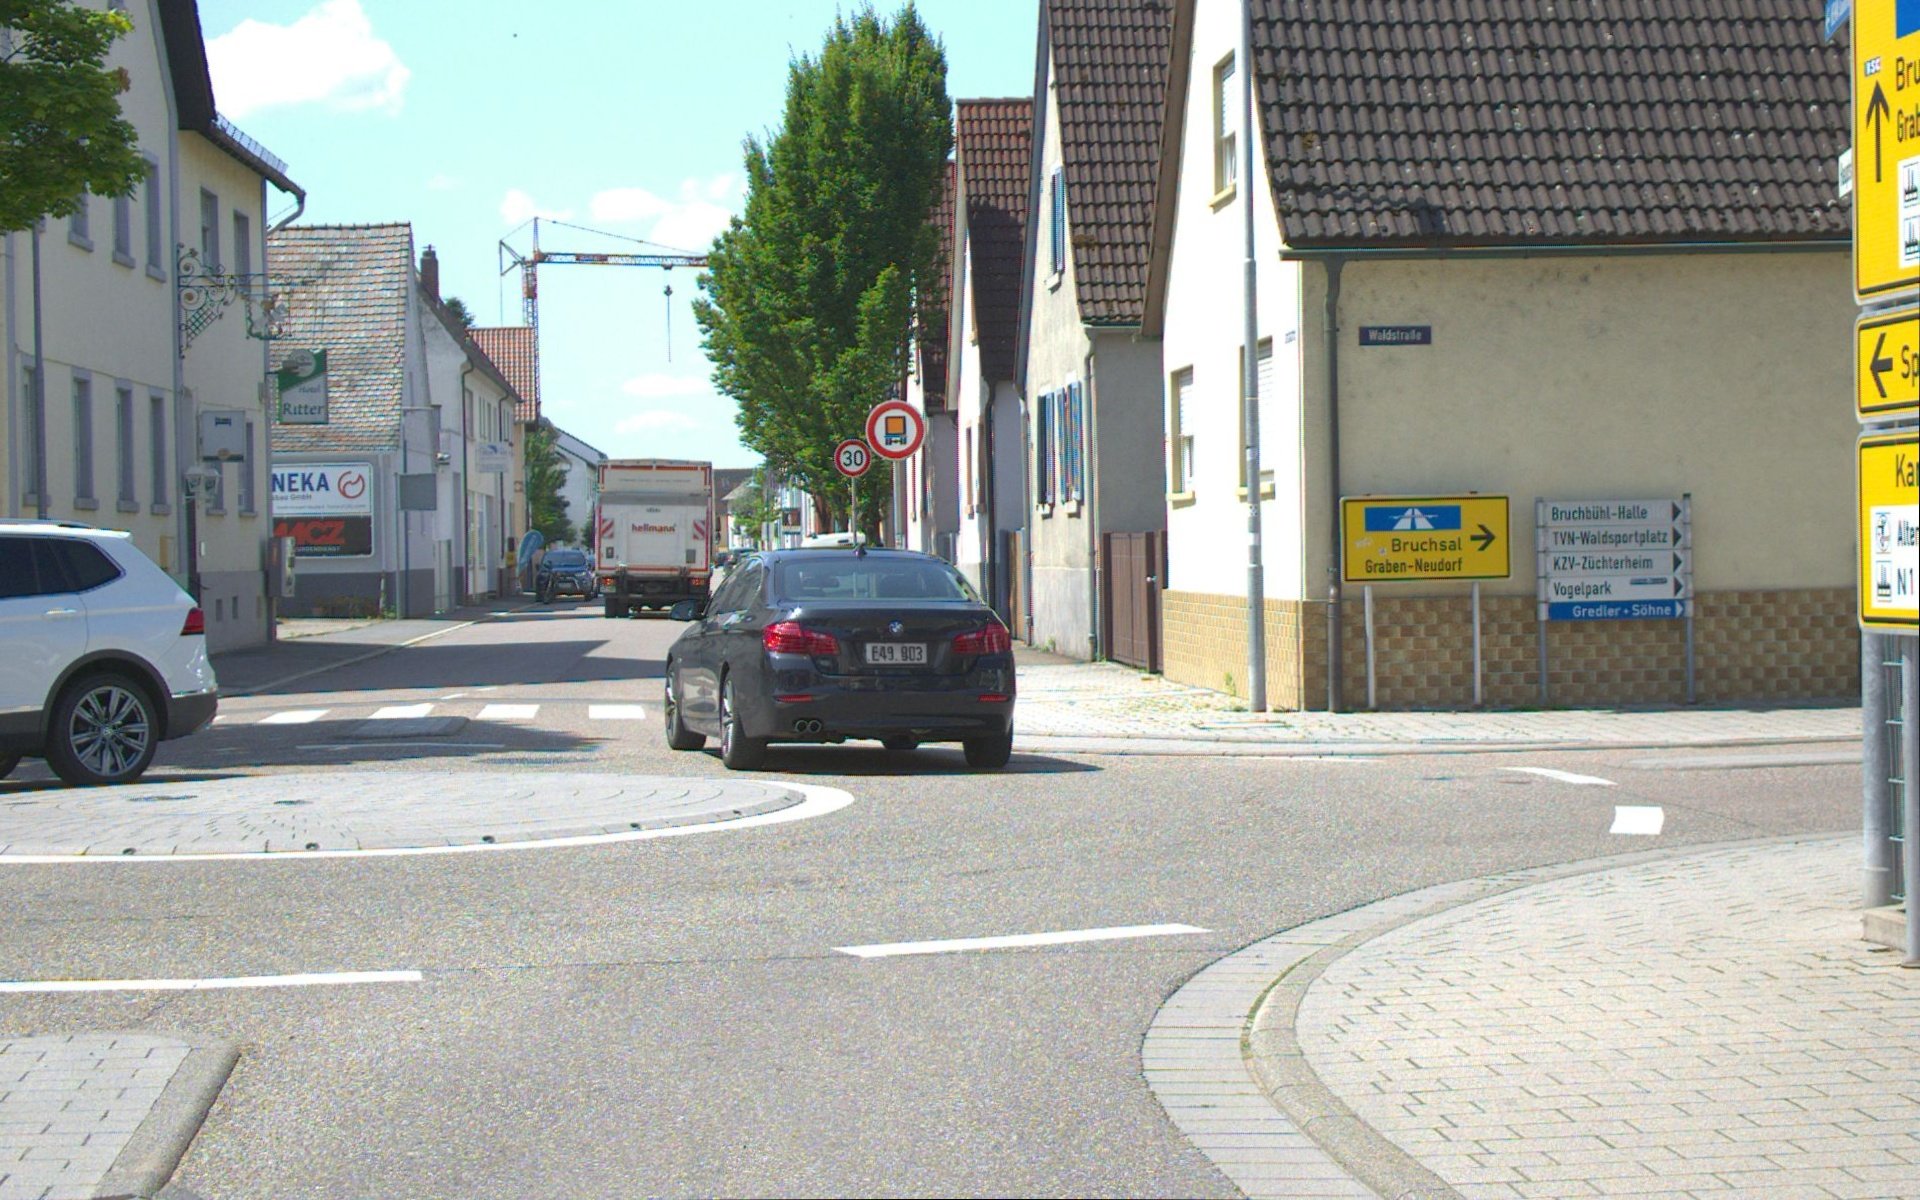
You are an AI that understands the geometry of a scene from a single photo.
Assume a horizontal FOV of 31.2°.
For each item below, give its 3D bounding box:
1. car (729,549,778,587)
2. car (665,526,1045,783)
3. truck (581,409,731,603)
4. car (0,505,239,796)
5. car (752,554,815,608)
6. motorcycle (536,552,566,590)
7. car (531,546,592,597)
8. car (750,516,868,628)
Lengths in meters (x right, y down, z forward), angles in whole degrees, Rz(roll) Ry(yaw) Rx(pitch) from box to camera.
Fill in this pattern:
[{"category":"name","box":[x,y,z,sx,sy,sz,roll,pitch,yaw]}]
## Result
[{"category":"car","box":[-7.486,-1.168,124.457,1.719,1.350,4.157,0,1,-4]},{"category":"car","box":[-0.828,0.321,23.455,1.901,1.558,4.477,-1,0,-11]},{"category":"truck","box":[-7.017,-2.115,80.532,3.144,4.236,9.303,1,0,-3]},{"category":"car","box":[-6.776,0.323,20.516,1.871,1.704,4.531,0,2,45]},{"category":"car","box":[-4.929,-0.542,96.162,1.719,1.456,4.157,0,1,-3]},{"category":"motorcycle","box":[-12.618,-0.887,106.025,0.846,1.166,2.470,1,0,-6]},{"category":"car","box":[-12.710,-0.919,109.841,1.809,1.583,4.001,0,1,-5]},{"category":"car","box":[-2.648,-0.502,59.451,1.719,1.784,4.145,-2,1,-6]}]
